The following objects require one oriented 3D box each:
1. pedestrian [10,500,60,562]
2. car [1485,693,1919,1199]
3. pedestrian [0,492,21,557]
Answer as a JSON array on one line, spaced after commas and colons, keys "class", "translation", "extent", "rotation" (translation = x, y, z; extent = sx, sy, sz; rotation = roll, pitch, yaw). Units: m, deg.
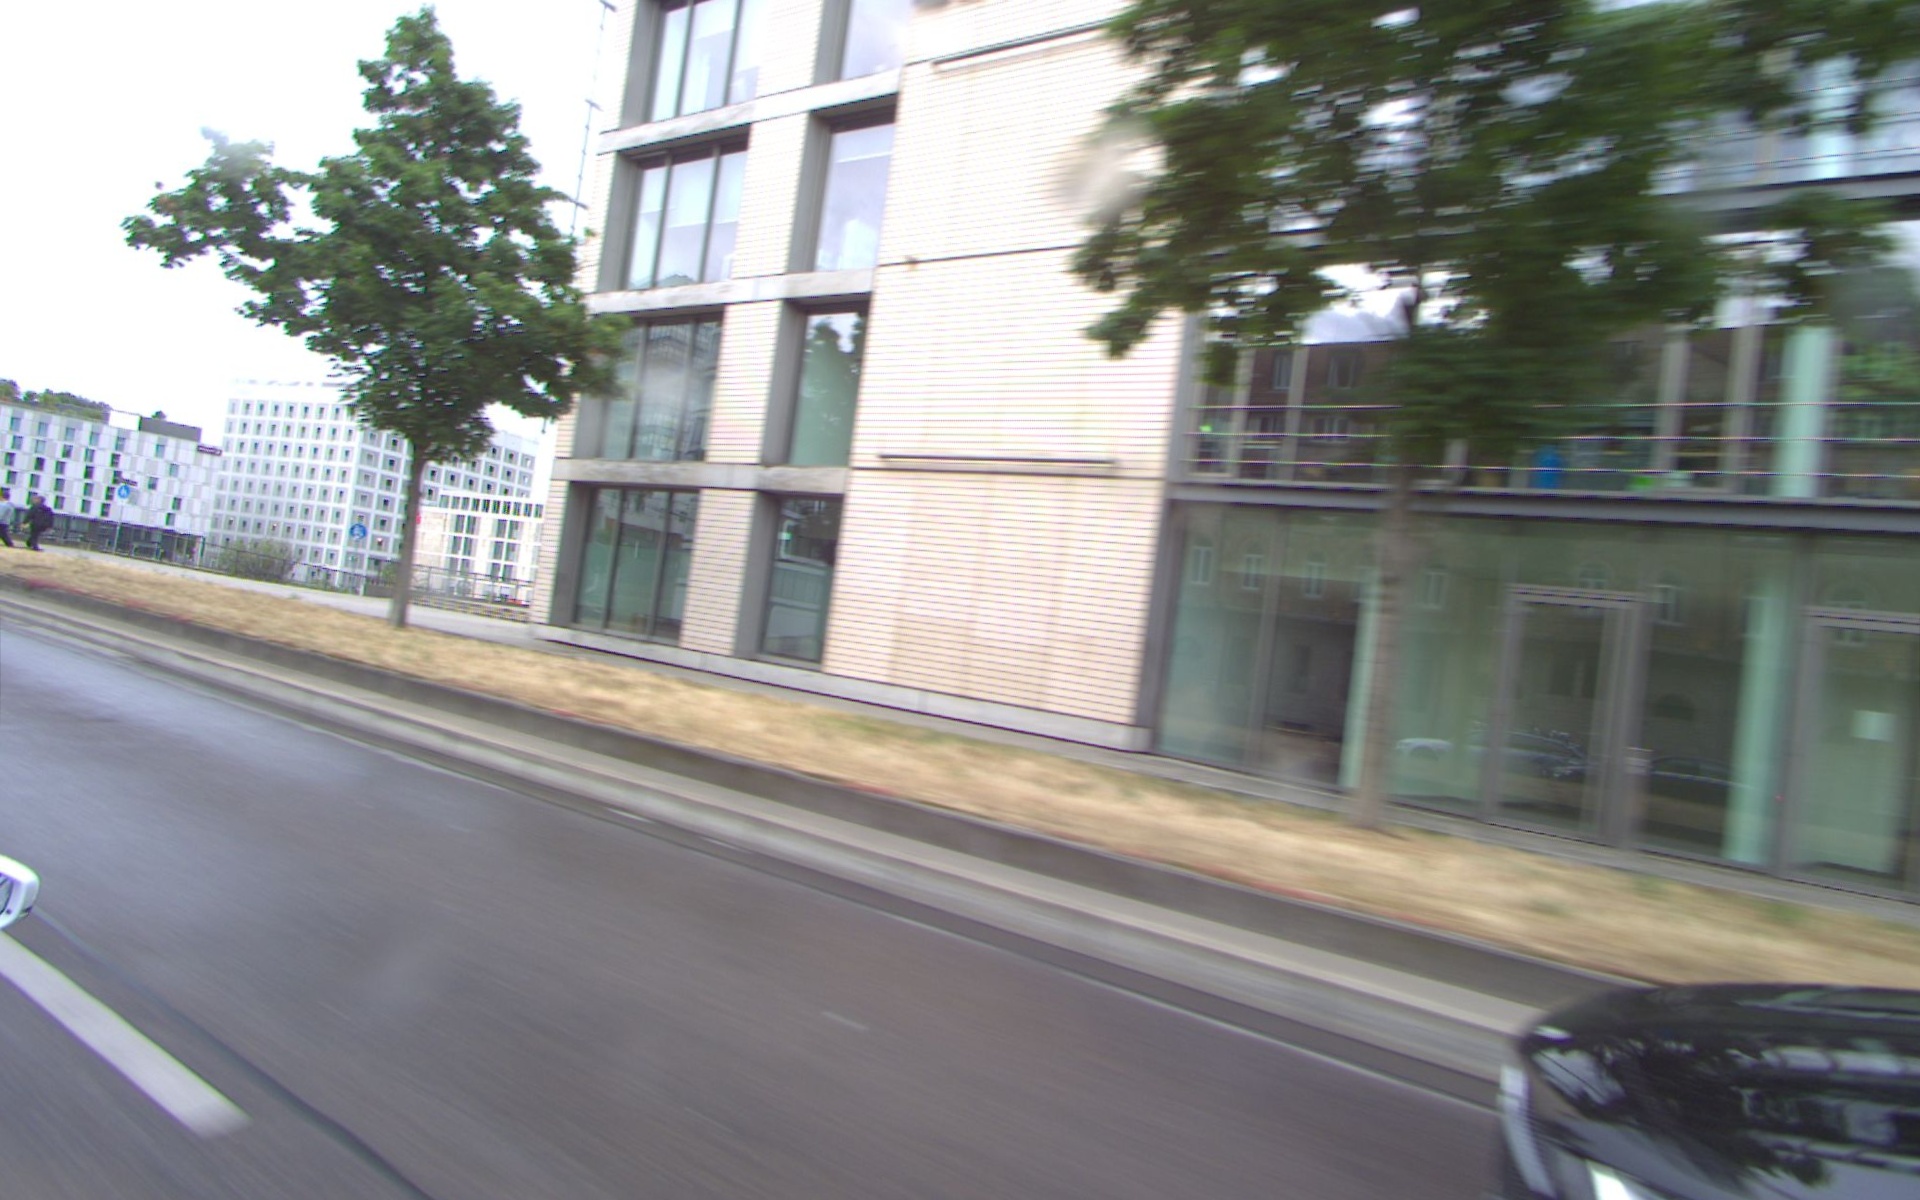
[{"class": "pedestrian", "translation": [-25.439, -1.896, 27.684], "extent": [0.662, 1.597, 0.665], "rotation": [8, 1, -21]}, {"class": "car", "translation": [3.134, 1.181, 1.436], "extent": [4.134, 1.453, 1.876], "rotation": [7, -1, 31]}, {"class": "pedestrian", "translation": [-24.312, -1.927, 25.399], "extent": [0.544, 1.597, 0.666], "rotation": [8, 1, -24]}]
